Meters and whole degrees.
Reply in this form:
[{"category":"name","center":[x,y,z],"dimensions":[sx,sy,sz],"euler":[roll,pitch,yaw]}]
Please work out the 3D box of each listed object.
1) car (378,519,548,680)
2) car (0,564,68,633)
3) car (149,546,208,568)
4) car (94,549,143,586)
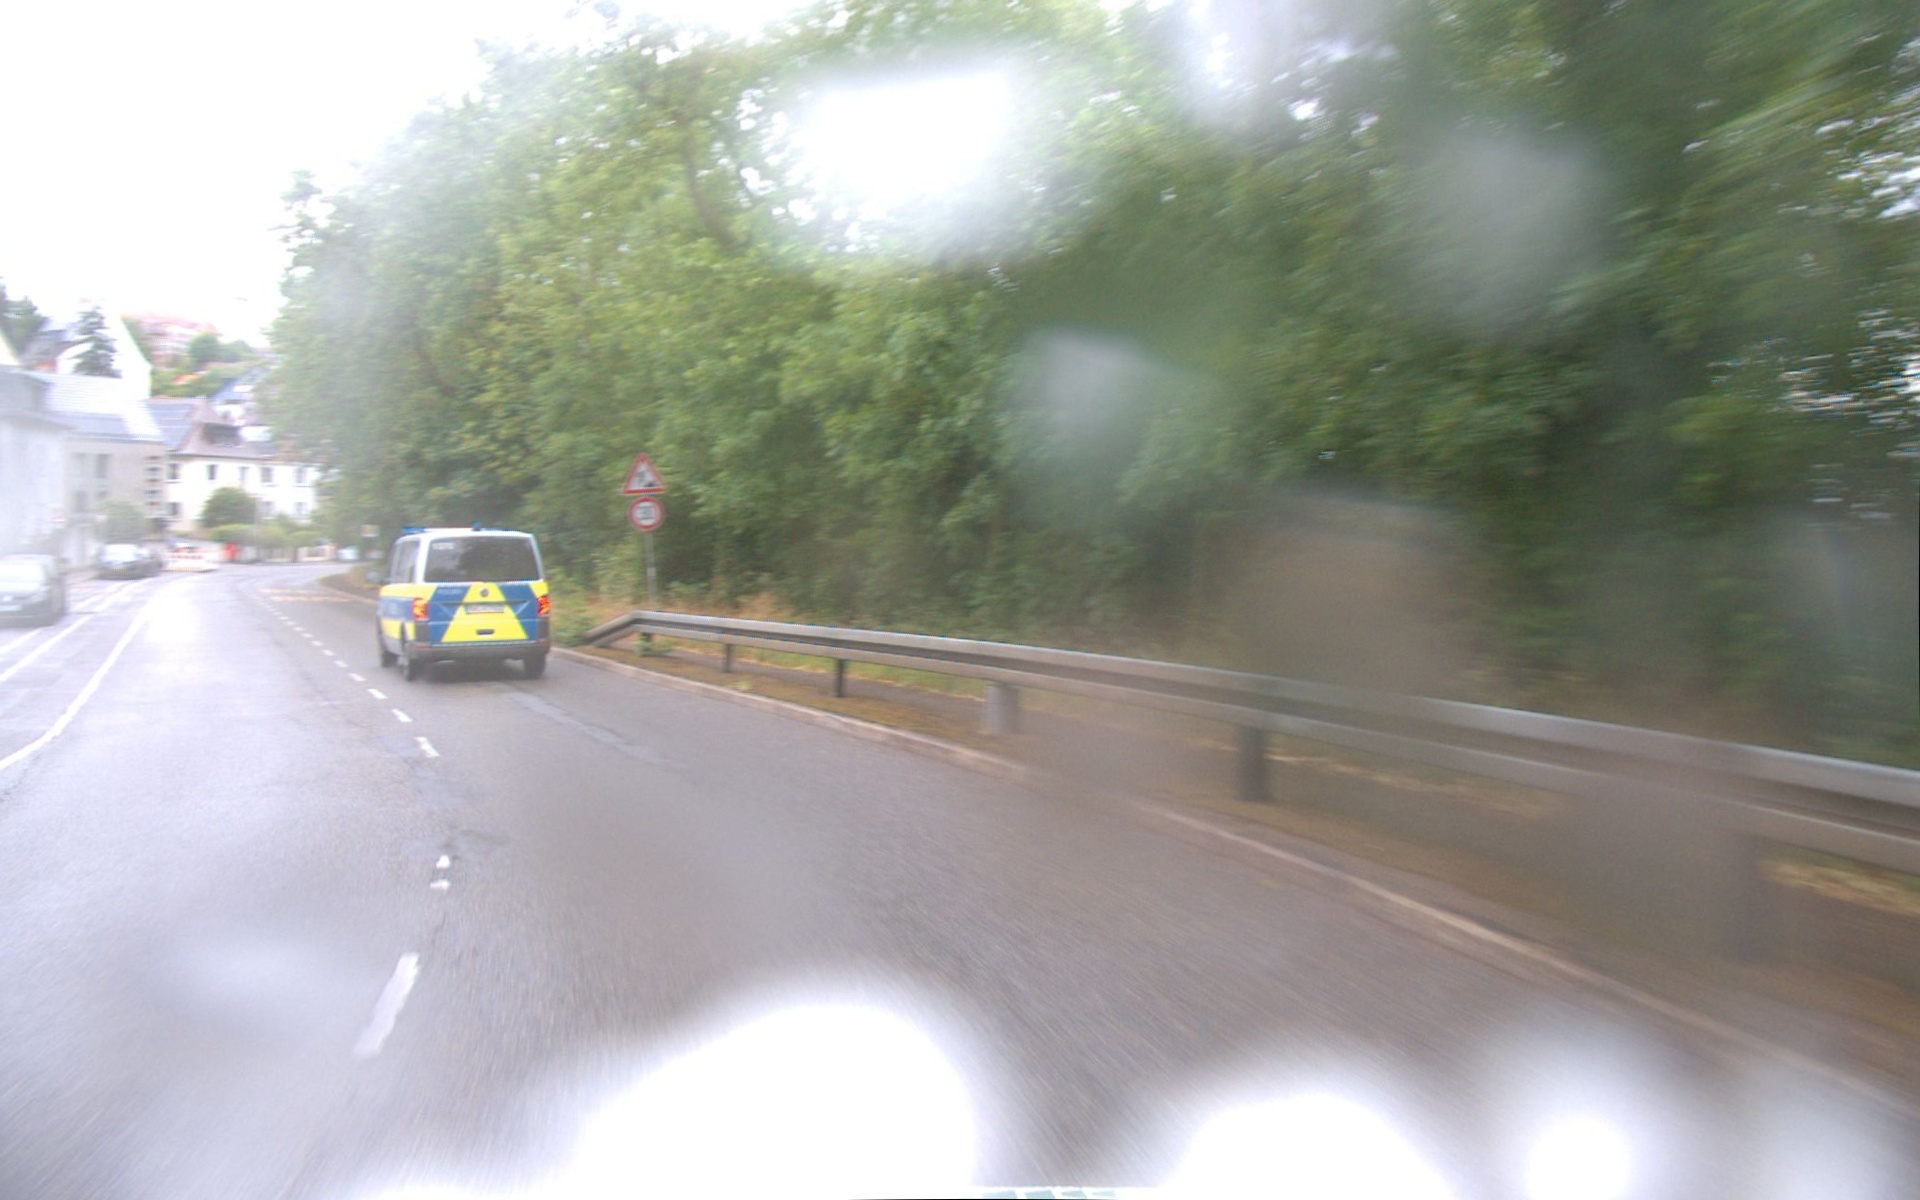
[{"category":"car","center":[-7.116,-0.026,23.393],"dimensions":[1.965,2.049,4.373],"euler":[0,0,-21]},{"category":"car","center":[-21.737,-0.075,38.425],"dimensions":[1.668,1.442,4.178],"euler":[-2,3,-27]},{"category":"car","center":[-55.848,-3.084,118.198],"dimensions":[3.910,1.468,1.837],"euler":[3,2,27]},{"category":"car","center":[-40.450,-1.588,79.588],"dimensions":[1.731,1.687,4.374],"euler":[-1,3,-23]}]
